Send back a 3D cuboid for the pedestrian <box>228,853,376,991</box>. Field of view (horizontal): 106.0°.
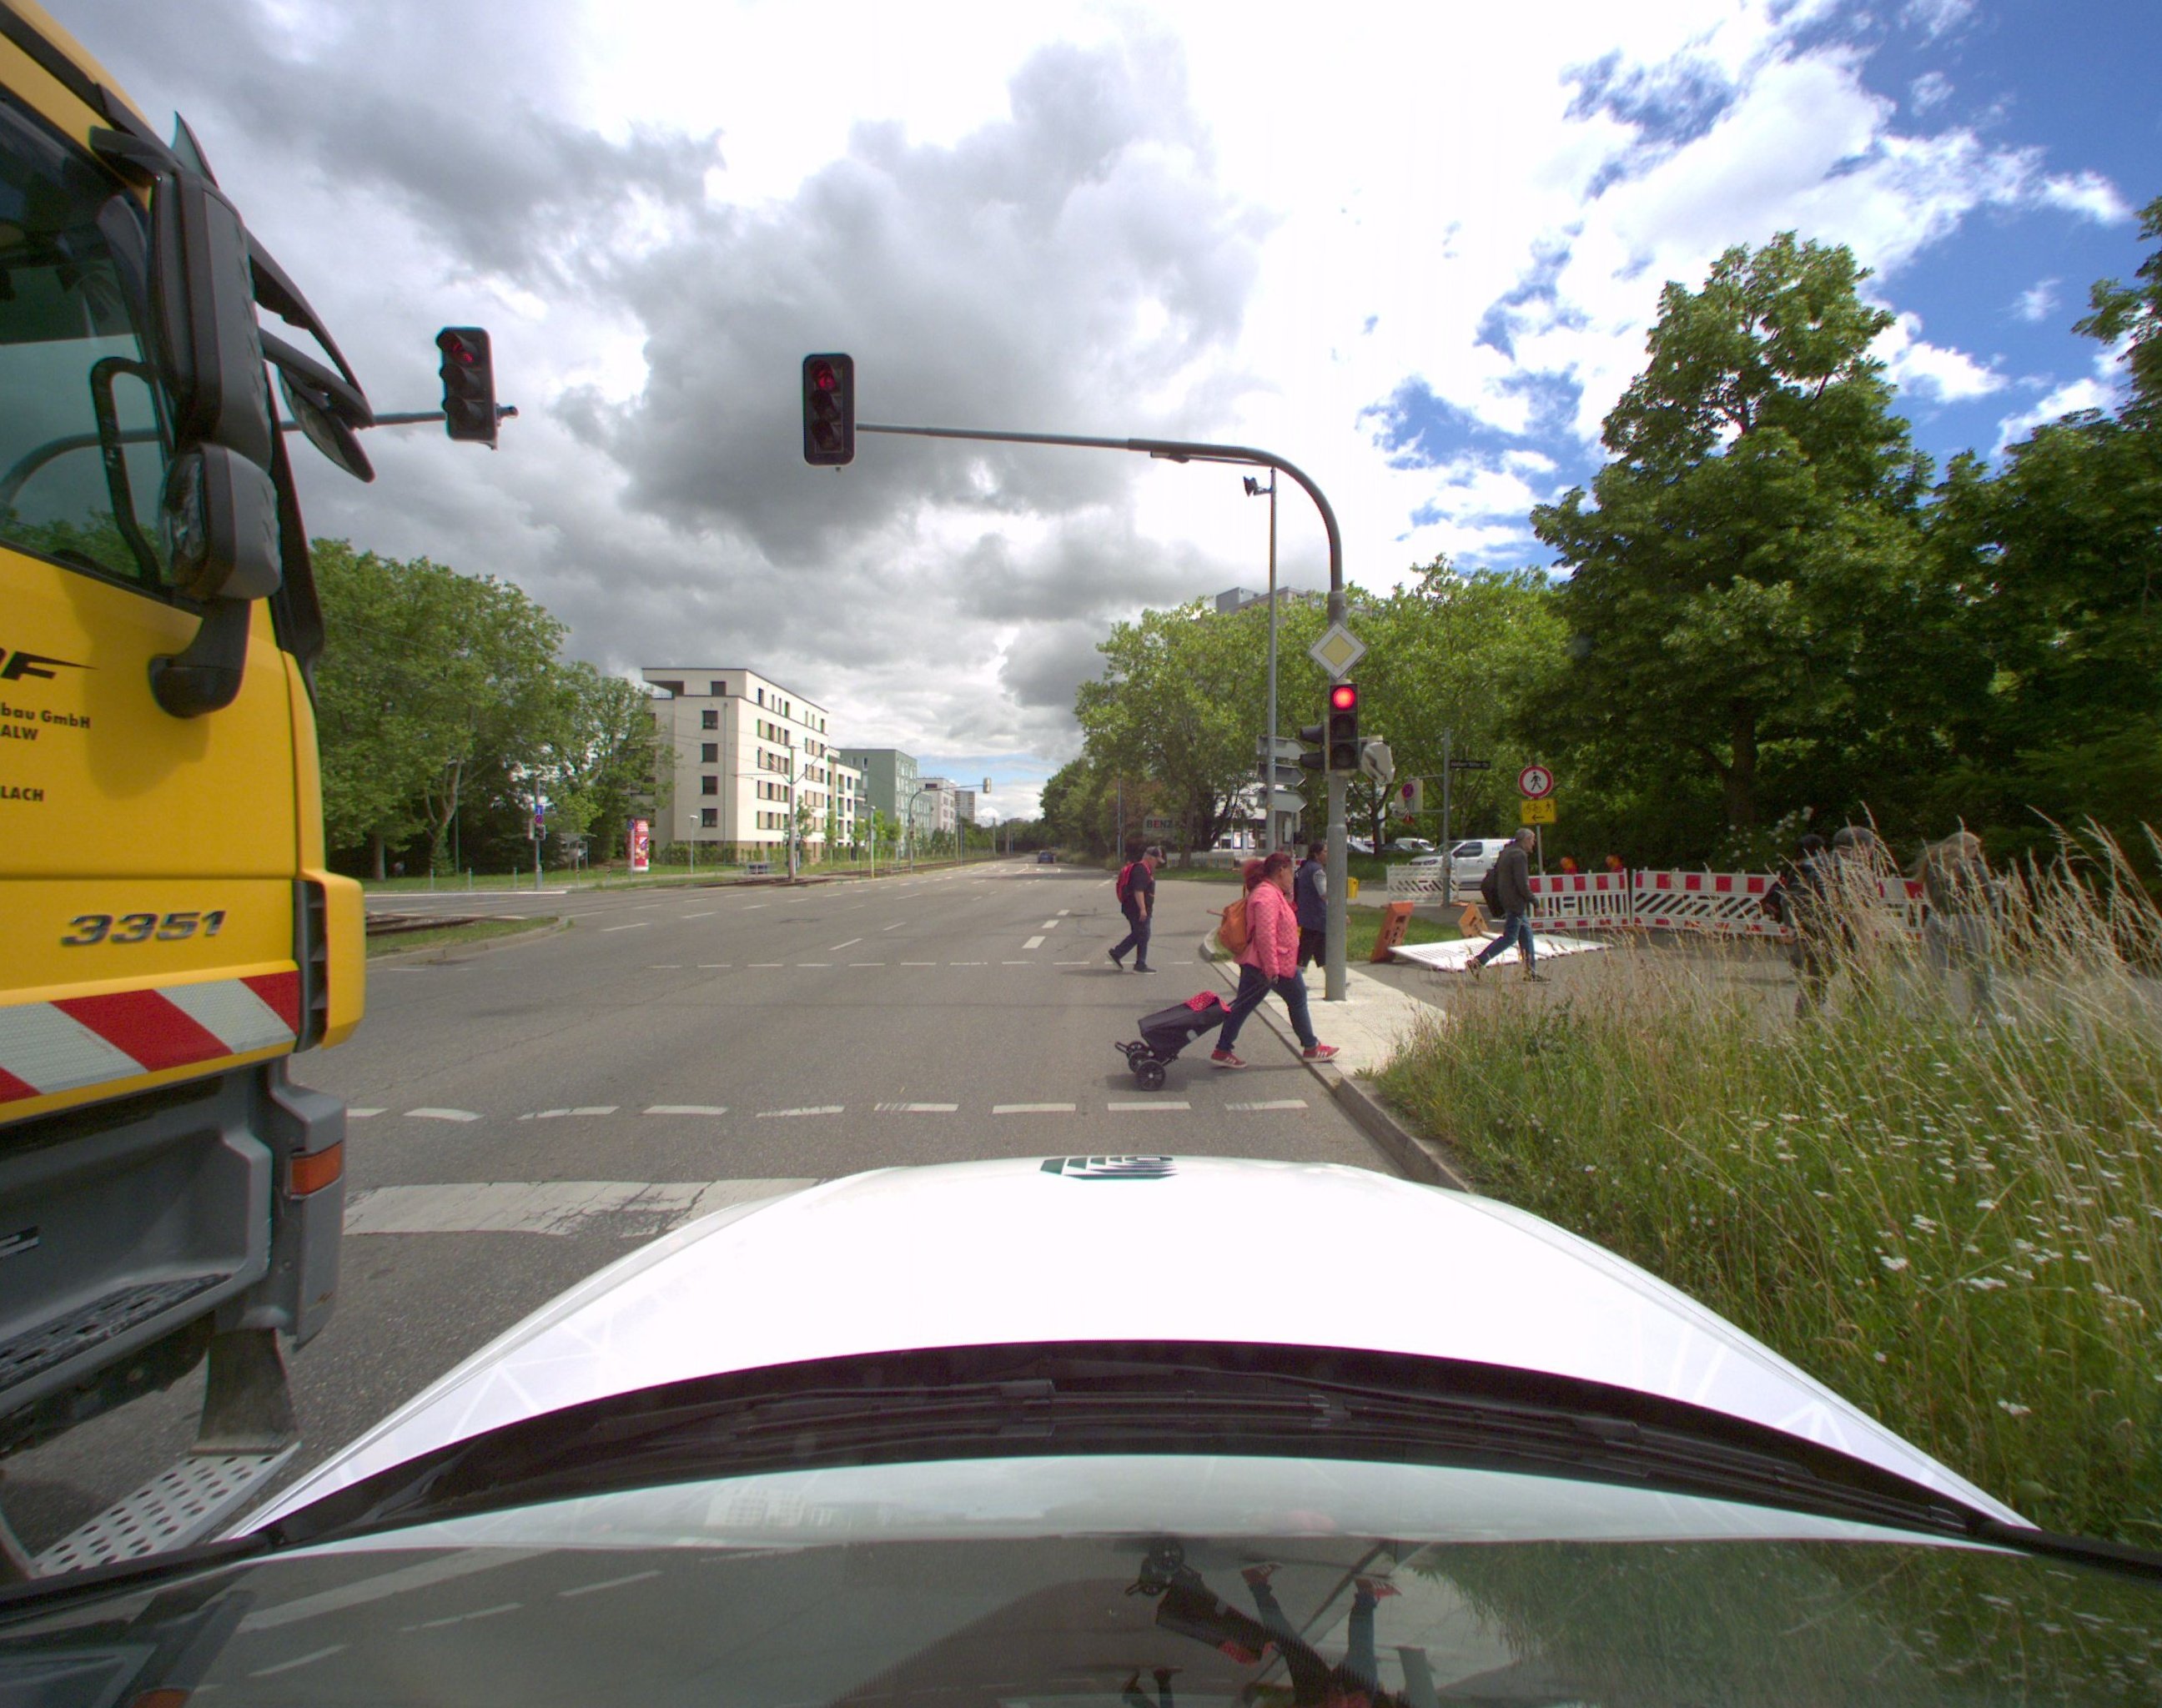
[{"bbox_3d":[-9.270,0.777,9.740,0.946,1.552,0.841,-1,0,-9],"label":"pedestrian"}]

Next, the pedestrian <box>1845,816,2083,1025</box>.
[{"bbox_3d":[7.450,0.530,6.940,1.015,1.648,0.931,-1,0,6],"label":"pedestrian"}]

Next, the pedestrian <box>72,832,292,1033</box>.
[{"bbox_3d":[-8.512,0.691,7.775,1.009,1.774,0.945,-1,0,-10],"label":"pedestrian"}]

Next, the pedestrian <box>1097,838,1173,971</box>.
[{"bbox_3d":[0.700,0.611,10.260,0.888,1.596,0.910,-1,0,6],"label":"pedestrian"}]

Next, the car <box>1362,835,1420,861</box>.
[{"bbox_3d":[24.604,-0.494,64.731,2.006,2.013,3.962,-1,0,-29],"label":"car"}]

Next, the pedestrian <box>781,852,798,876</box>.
[{"bbox_3d":[-18.532,0.621,51.768,0.827,1.516,0.636,-1,0,1],"label":"pedestrian"}]

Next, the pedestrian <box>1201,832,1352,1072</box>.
[{"bbox_3d":[1.324,0.635,5.658,0.877,1.554,0.747,-1,0,2],"label":"pedestrian"}]

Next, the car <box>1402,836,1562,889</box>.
[{"bbox_3d":[14.923,0.303,30.455,5.063,1.874,1.947,-1,0,-2],"label":"car"}]

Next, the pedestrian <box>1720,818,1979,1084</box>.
[{"bbox_3d":[5.193,0.596,5.568,0.958,1.648,0.878,-1,0,-7],"label":"pedestrian"}]

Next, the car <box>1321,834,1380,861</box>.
[{"bbox_3d":[20.573,-0.486,62.250,2.006,2.013,3.962,-1,0,-29],"label":"car"}]

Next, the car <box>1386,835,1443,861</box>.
[{"bbox_3d":[27.318,-0.498,66.865,2.006,2.013,3.962,-1,0,-29],"label":"car"}]

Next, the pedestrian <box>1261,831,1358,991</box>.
[{"bbox_3d":[2.427,0.576,8.760,0.907,1.607,0.932,-1,0,10],"label":"pedestrian"}]

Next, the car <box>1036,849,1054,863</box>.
[{"bbox_3d":[-4.079,0.203,91.991,1.978,1.486,4.485,-1,0,-4],"label":"car"}]

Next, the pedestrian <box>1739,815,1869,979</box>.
[{"bbox_3d":[8.095,0.458,9.159,0.776,1.742,0.831,-1,0,12],"label":"pedestrian"}]

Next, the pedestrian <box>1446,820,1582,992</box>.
[{"bbox_3d":[4.686,0.533,8.889,0.998,1.773,0.930,-1,0,2],"label":"pedestrian"}]

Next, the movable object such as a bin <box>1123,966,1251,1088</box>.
[{"bbox_3d":[0.693,1.153,5.561,0.792,0.662,0.778,-1,0,2],"label":"movable object such as a bin"}]
